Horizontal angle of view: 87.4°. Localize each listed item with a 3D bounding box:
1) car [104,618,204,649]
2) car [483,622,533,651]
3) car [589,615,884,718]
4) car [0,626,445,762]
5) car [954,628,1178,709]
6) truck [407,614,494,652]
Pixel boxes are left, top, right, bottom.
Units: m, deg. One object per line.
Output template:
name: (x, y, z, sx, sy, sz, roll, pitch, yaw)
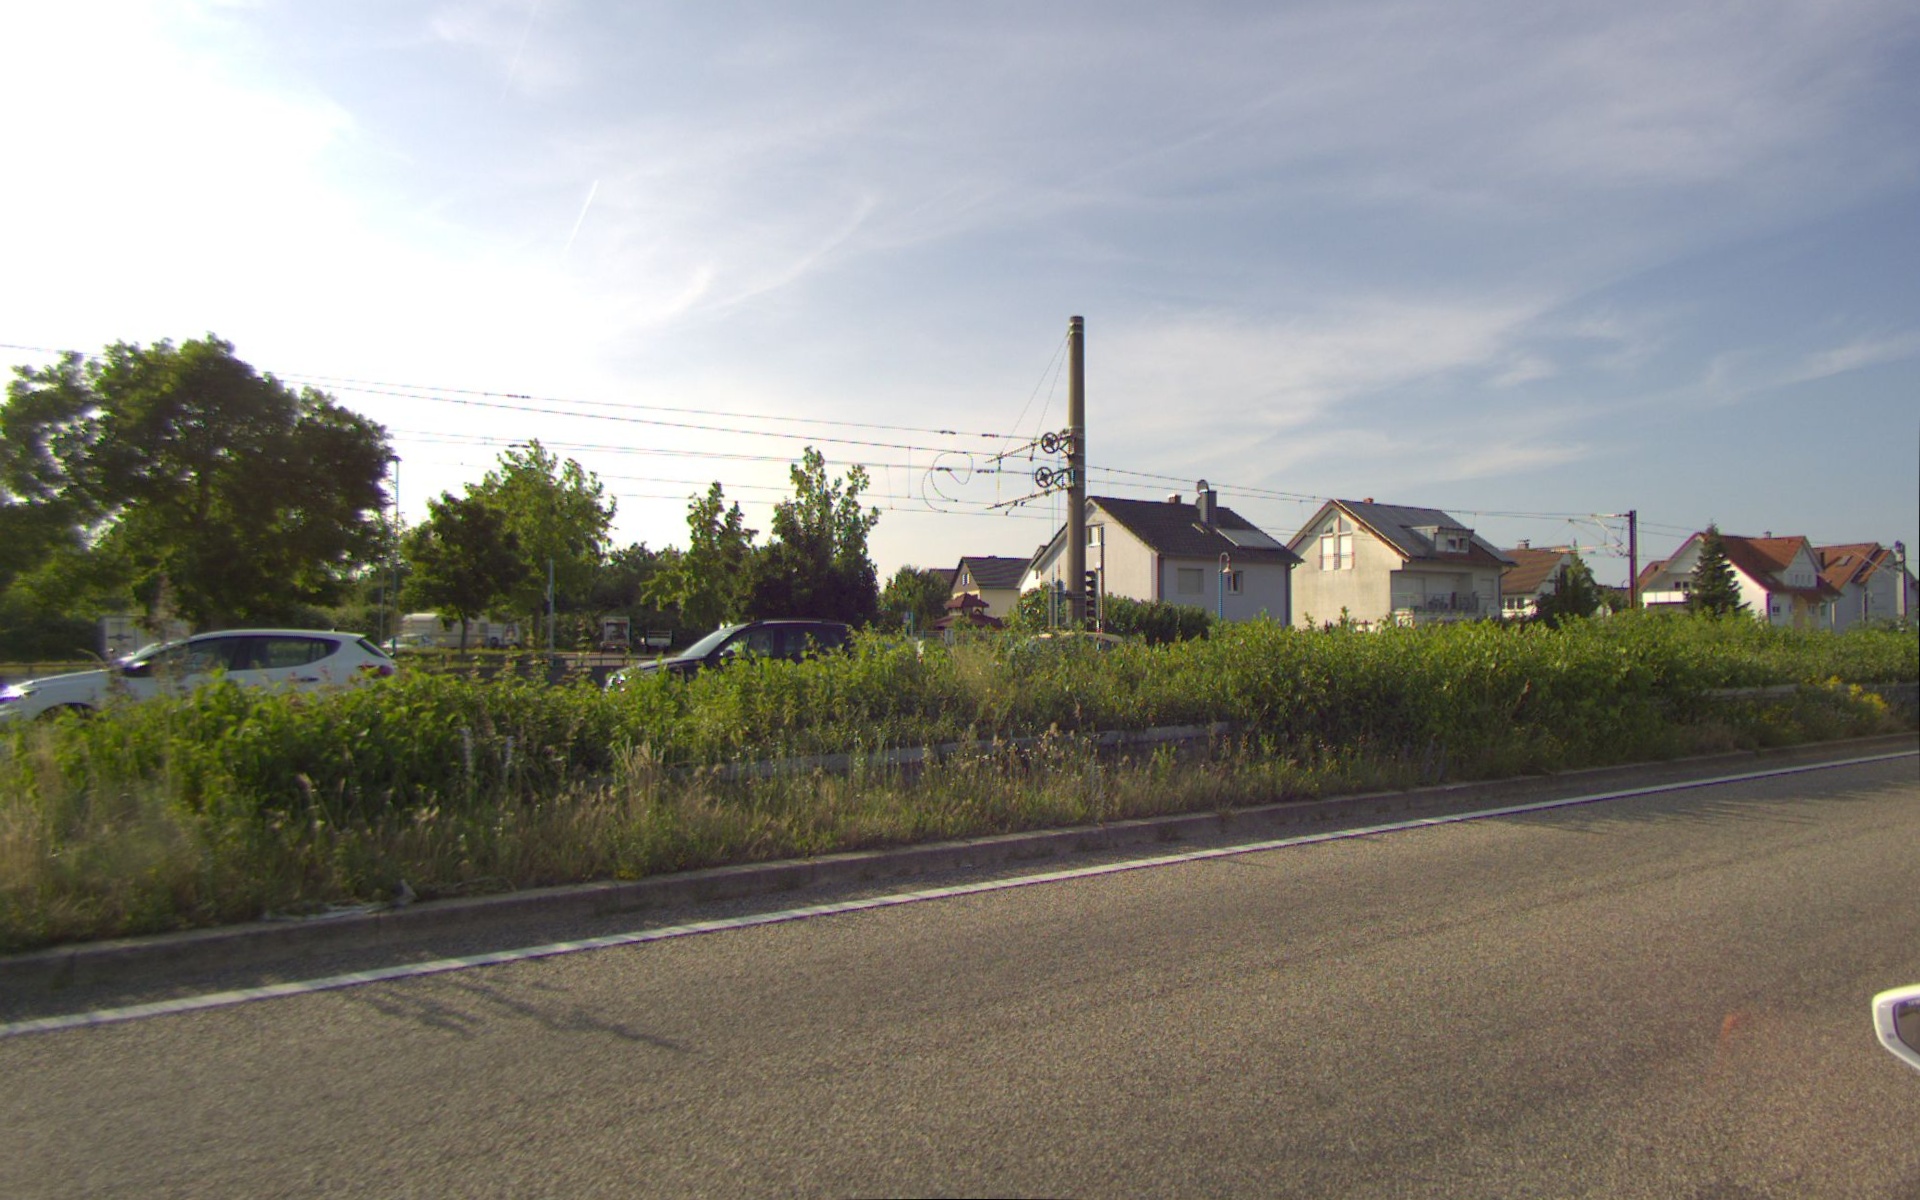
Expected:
car: (-39.263, 1.679, 49.047, 1.700, 1.384, 3.626, -1, -4, 7)
car: (-30.467, 2.414, 67.784, 1.537, 1.819, 3.116, 1, 0, 9)
car: (-3.481, 1.014, 15.899, 4.276, 1.450, 1.653, 1, -3, -31)
car: (-8.955, 1.090, 12.560, 4.397, 1.450, 1.653, 1, -3, -31)
car: (2.126, 1.310, 19.831, 4.276, 1.450, 1.653, 1, -3, -31)
truck: (-33.487, 2.120, 66.236, 1.959, 2.278, 5.990, 1, 0, 9)
